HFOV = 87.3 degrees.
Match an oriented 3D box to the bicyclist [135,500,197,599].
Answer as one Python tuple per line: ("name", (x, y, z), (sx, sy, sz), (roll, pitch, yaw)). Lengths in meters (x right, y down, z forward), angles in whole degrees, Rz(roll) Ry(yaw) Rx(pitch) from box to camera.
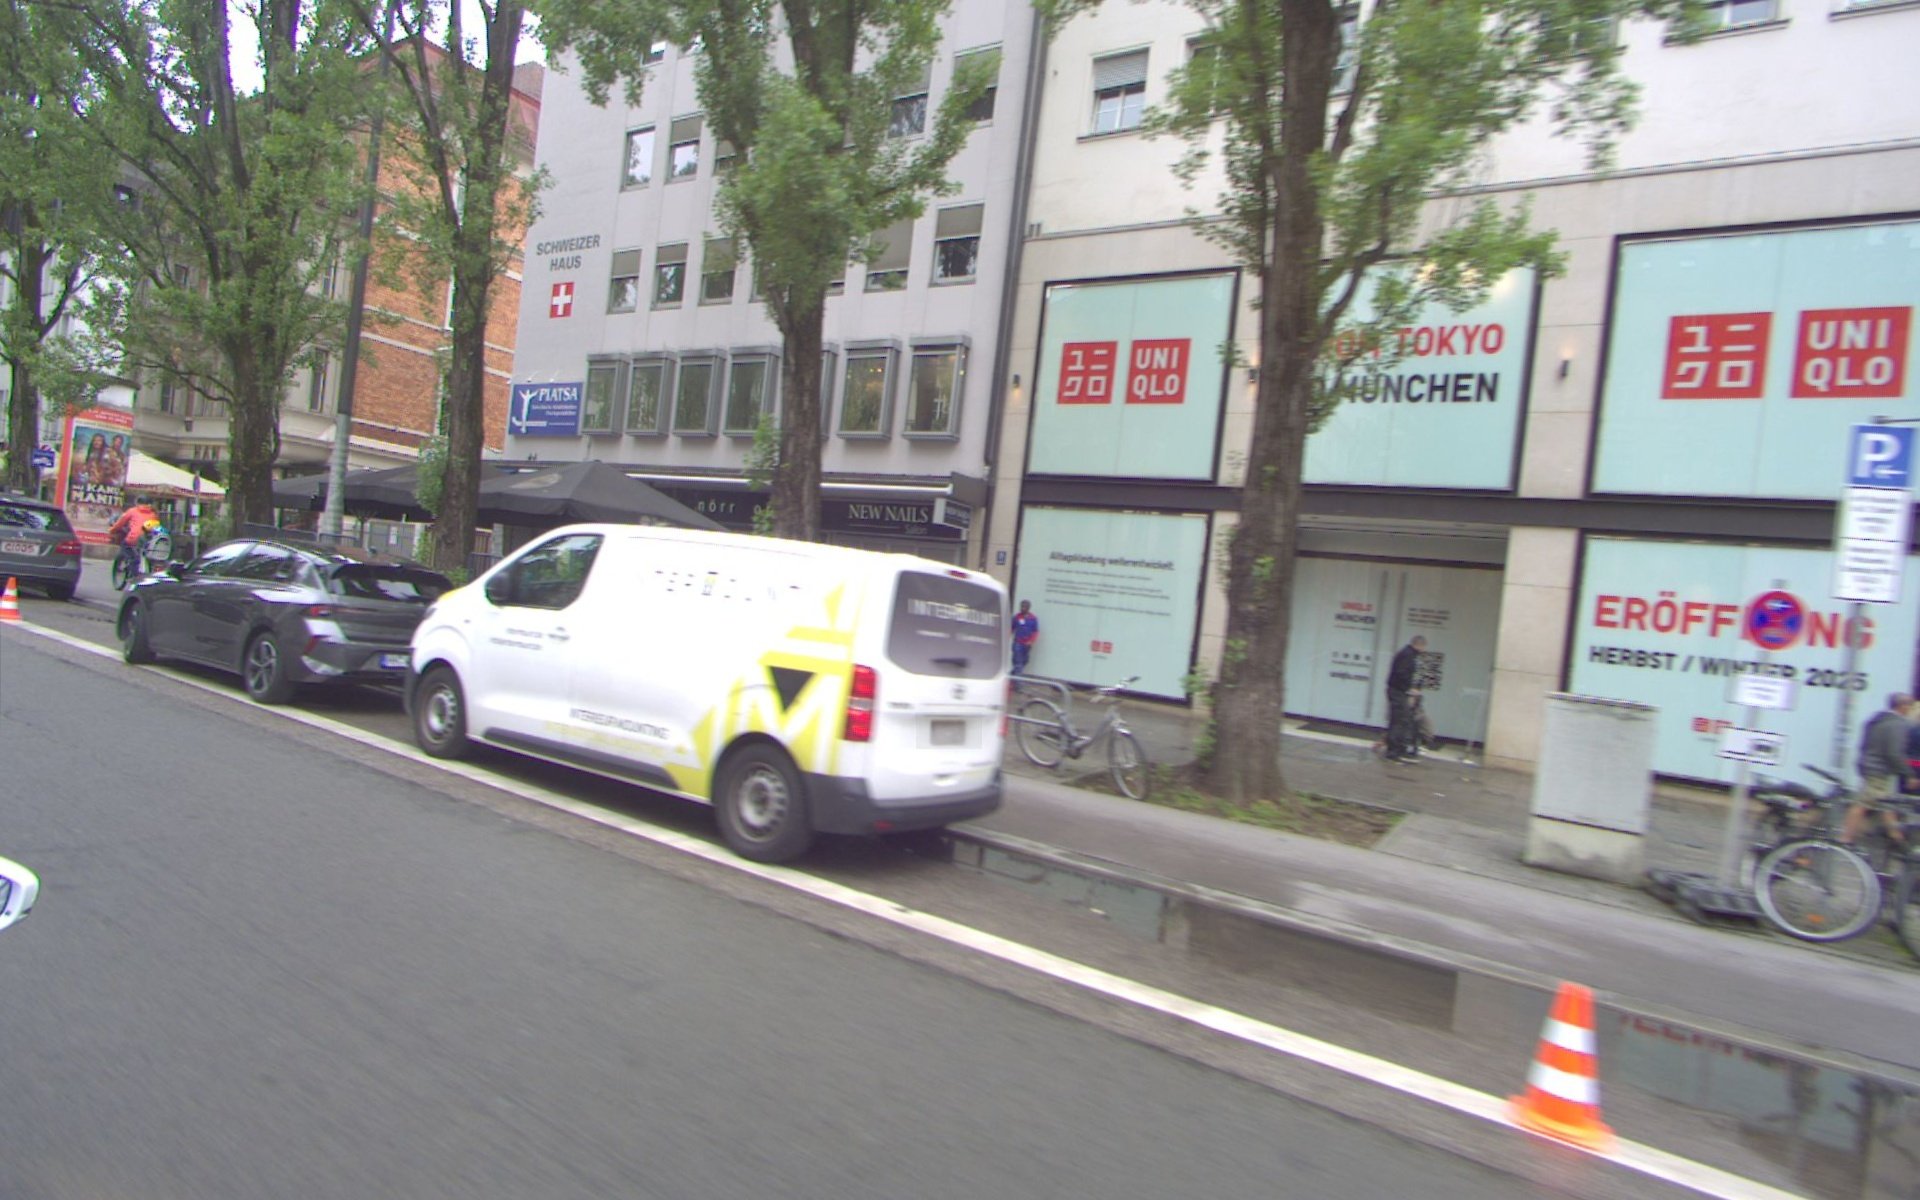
("bicyclist", (-13.495, -0.849, 17.102), (0.385, 1.608, 0.622), (7, 1, 31))

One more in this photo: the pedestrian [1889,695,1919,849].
("pedestrian", (11.086, 1.955, 11.121), (0.947, 1.683, 0.652), (7, 0, 32))

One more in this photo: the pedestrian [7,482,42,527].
("pedestrian", (-38.335, -3.919, 41.209), (0.916, 1.698, 0.729), (7, 1, 32))

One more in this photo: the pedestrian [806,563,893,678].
("pedestrian", (-1.947, 0.352, 17.699), (1.084, 1.864, 0.824), (7, 1, 44))

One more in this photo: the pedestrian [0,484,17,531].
("pedestrian", (-38.765, -3.773, 40.584), (0.916, 1.825, 0.729), (7, 1, 32))

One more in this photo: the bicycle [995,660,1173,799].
("bicycle", (1.176, 1.231, 9.855), (1.705, 1.051, 0.364), (7, 1, 40))

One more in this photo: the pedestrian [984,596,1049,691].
("pedestrian", (1.033, 0.796, 18.362), (0.759, 1.628, 0.670), (7, -1, 35))

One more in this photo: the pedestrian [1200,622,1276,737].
("pedestrian", (4.273, 1.206, 15.440), (0.814, 1.629, 0.671), (7, 1, 28))

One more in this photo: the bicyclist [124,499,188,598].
("bicyclist", (-13.830, -0.886, 17.310), (0.473, 1.608, 0.622), (7, 1, 31))

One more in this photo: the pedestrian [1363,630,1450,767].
("pedestrian", (6.221, 1.369, 14.014), (0.675, 1.786, 0.862), (7, 1, 44))

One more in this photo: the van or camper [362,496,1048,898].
("van or camper", (-2.022, 0.457, 7.340), (4.822, 1.906, 1.871), (7, 0, 32))

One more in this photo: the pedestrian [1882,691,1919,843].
("pedestrian", (11.575, 1.991, 11.712), (0.947, 1.739, 0.751), (7, 1, 32))

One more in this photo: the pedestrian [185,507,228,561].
("pedestrian", (-25.042, -2.188, 33.436), (0.974, 1.629, 0.729), (7, 1, 32))

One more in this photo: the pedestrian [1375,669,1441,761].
("pedestrian", (6.631, 1.686, 14.890), (0.673, 1.249, 0.670), (7, 1, 33))

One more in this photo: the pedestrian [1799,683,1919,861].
("pedestrian", (9.703, 1.788, 10.626), (0.970, 1.694, 0.824), (7, 1, 28))

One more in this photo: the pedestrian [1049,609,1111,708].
("pedestrian", (2.107, 1.033, 17.645), (0.673, 1.629, 0.670), (7, 1, 33))

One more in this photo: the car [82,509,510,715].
("car", (-6.719, 0.087, 10.078), (4.280, 1.459, 1.724), (7, -2, 30))

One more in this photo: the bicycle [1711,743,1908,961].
("bicycle", (5.994, 1.708, 7.202), (0.440, 1.125, 1.742), (7, 2, 22))

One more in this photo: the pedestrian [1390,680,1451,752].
("pedestrian", (7.002, 1.748, 15.292), (0.661, 0.981, 0.571), (7, 1, 33))

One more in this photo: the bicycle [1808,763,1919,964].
("bicycle", (6.553, 1.792, 6.972), (0.475, 1.058, 1.761), (7, 1, 25))

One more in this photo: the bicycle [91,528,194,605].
("bicycle", (-14.313, -0.601, 17.591), (2.226, 1.100, 0.627), (7, 1, 31))

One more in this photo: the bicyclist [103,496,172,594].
("bicyclist", (-14.480, -0.957, 17.708), (0.740, 1.608, 0.622), (7, 1, 31))

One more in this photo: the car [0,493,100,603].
("car", (-15.706, -0.976, 15.878), (4.159, 1.525, 1.820), (7, 0, 29))
